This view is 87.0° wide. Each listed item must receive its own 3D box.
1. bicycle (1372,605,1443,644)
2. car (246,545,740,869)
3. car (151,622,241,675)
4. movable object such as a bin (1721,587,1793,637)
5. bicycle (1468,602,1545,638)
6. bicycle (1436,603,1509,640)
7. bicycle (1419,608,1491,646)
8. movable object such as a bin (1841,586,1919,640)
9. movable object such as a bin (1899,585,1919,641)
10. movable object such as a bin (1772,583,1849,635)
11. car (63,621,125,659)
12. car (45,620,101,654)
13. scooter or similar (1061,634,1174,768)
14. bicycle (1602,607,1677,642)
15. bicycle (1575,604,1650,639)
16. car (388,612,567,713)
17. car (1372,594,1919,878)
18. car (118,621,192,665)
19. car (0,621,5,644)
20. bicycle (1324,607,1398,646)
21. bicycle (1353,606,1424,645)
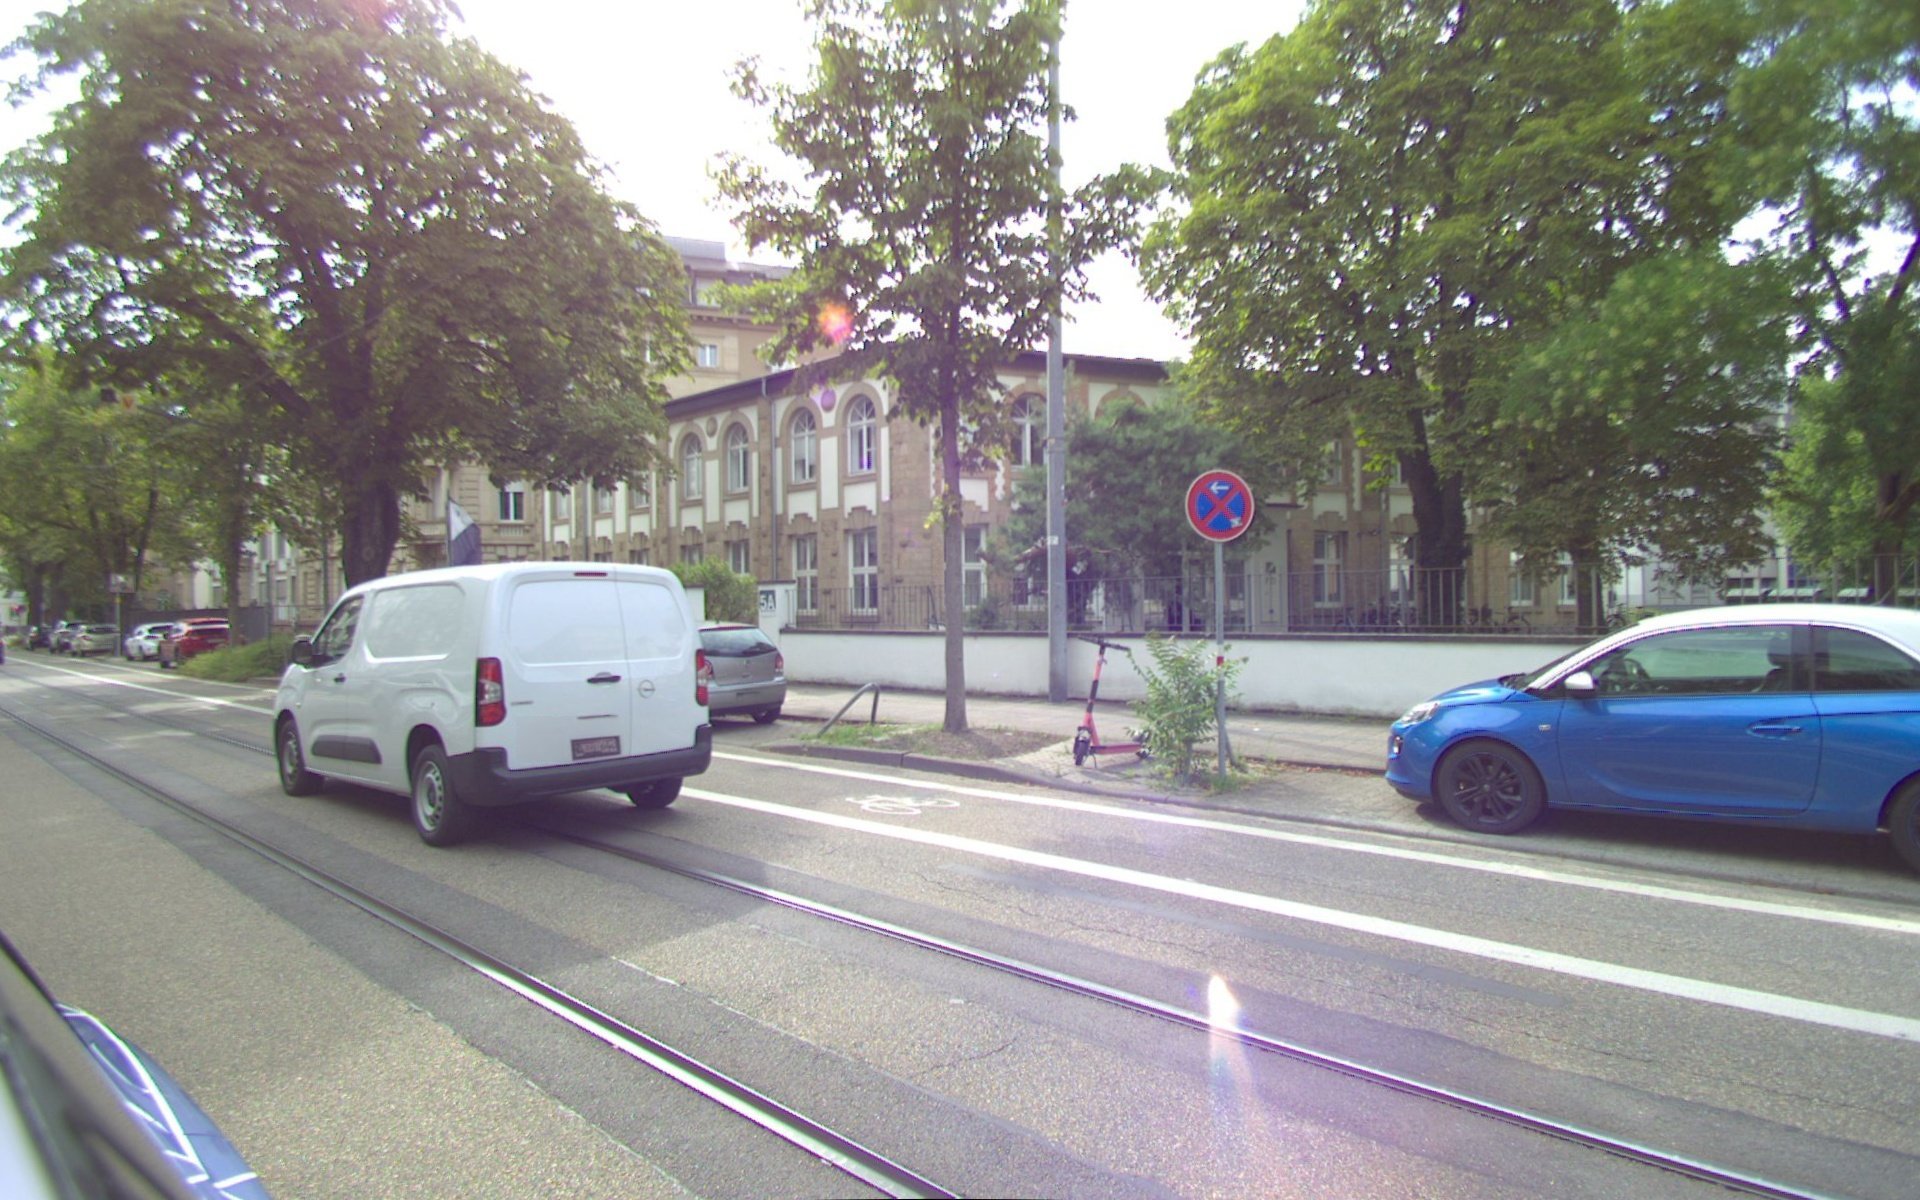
[{"bbox_3d":[12.880,0.688,29.171,0.584,1.051,1.984,-1,0,-23],"label":"bicycle"},{"bbox_3d":[-3.895,0.648,7.973,4.676,1.837,1.776,-2,-1,41],"label":"car"},{"bbox_3d":[-25.675,1.582,33.964,3.904,1.646,1.637,-2,-1,41],"label":"car"},{"bbox_3d":[23.788,0.358,30.224,1.103,1.441,1.288,0,0,-21],"label":"movable object such as a bin"},{"bbox_3d":[16.693,0.606,30.967,1.978,1.051,0.586,-1,0,44],"label":"bicycle"},{"bbox_3d":[15.173,0.624,30.002,0.584,1.051,1.984,-1,0,-23],"label":"bicycle"},{"bbox_3d":[14.481,0.780,29.663,0.584,1.051,1.984,-1,0,-23],"label":"bicycle"},{"bbox_3d":[25.011,0.342,27.467,1.103,1.441,1.288,0,0,-21],"label":"movable object such as a bin"},{"bbox_3d":[25.389,0.337,26.148,1.103,1.441,1.288,0,0,-21],"label":"movable object such as a bin"},{"bbox_3d":[24.300,0.261,28.928,1.103,1.441,1.288,0,0,-21],"label":"movable object such as a bin"},{"bbox_3d":[-40.071,1.826,46.815,3.904,1.646,1.637,-2,-1,41],"label":"car"},{"bbox_3d":[-45.420,1.895,51.807,3.904,1.646,1.637,-2,-1,41],"label":"car"},{"bbox_3d":[1.481,0.925,9.497,0.987,1.176,0.370,-1,-1,-24],"label":"scooter or similar"},{"bbox_3d":[21.842,0.774,32.596,0.584,1.051,1.984,-1,0,-23],"label":"bicycle"},{"bbox_3d":[20.622,0.664,32.044,0.584,1.051,1.984,-1,0,-23],"label":"bicycle"},{"bbox_3d":[-8.919,1.076,18.598,3.723,1.646,1.637,-2,-1,41],"label":"car"},{"bbox_3d":[4.782,0.727,6.532,3.600,1.476,1.611,-2,-1,41],"label":"car"},{"bbox_3d":[-31.939,1.678,40.118,3.904,1.613,1.637,-2,-1,41],"label":"car"},{"bbox_3d":[-86.632,2.879,88.844,3.936,2.029,2.004,-1,-1,-39],"label":"car"},{"bbox_3d":[11.307,0.743,28.601,0.584,1.051,1.984,-1,0,-30],"label":"bicycle"},{"bbox_3d":[12.185,0.712,28.838,0.584,1.051,1.984,-1,0,-23],"label":"bicycle"}]
